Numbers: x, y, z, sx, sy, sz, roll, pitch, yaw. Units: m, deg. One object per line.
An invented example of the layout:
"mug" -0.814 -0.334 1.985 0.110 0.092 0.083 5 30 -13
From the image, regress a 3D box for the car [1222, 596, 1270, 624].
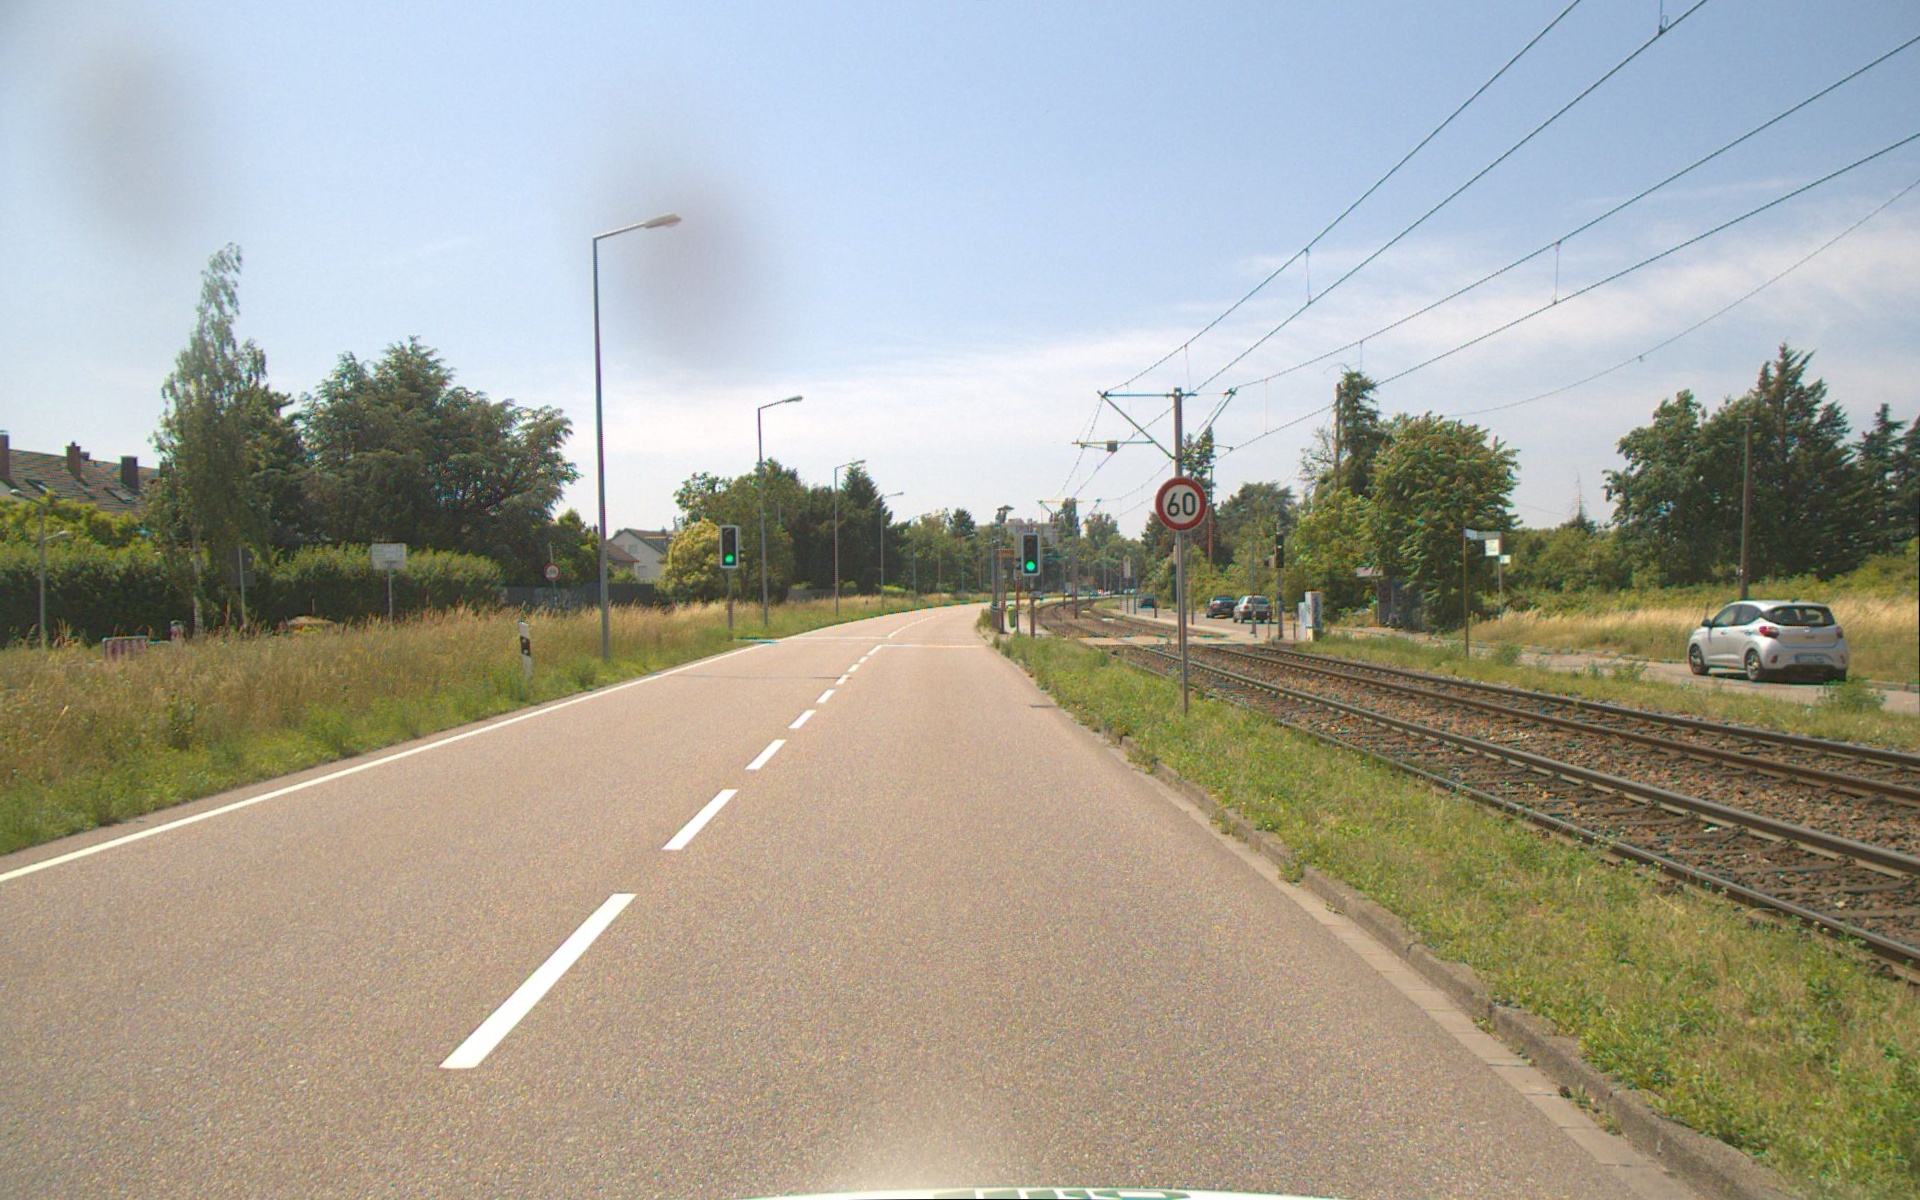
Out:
"car" 15.100 0.490 87.403 1.899 1.447 4.001 0 0 1

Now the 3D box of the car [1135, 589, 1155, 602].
"car" 19.657 -0.463 175.515 1.822 1.353 4.517 0 0 3

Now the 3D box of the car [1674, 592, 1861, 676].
"car" 15.526 0.618 32.031 1.678 1.514 4.001 0 0 0

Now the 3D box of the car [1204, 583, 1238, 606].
"car" 16.740 -0.337 106.216 1.586 1.447 4.874 0 0 2

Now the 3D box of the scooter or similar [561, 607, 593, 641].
"scooter or similar" -13.117 0.810 56.684 0.999 1.147 0.647 -1 0 -10
